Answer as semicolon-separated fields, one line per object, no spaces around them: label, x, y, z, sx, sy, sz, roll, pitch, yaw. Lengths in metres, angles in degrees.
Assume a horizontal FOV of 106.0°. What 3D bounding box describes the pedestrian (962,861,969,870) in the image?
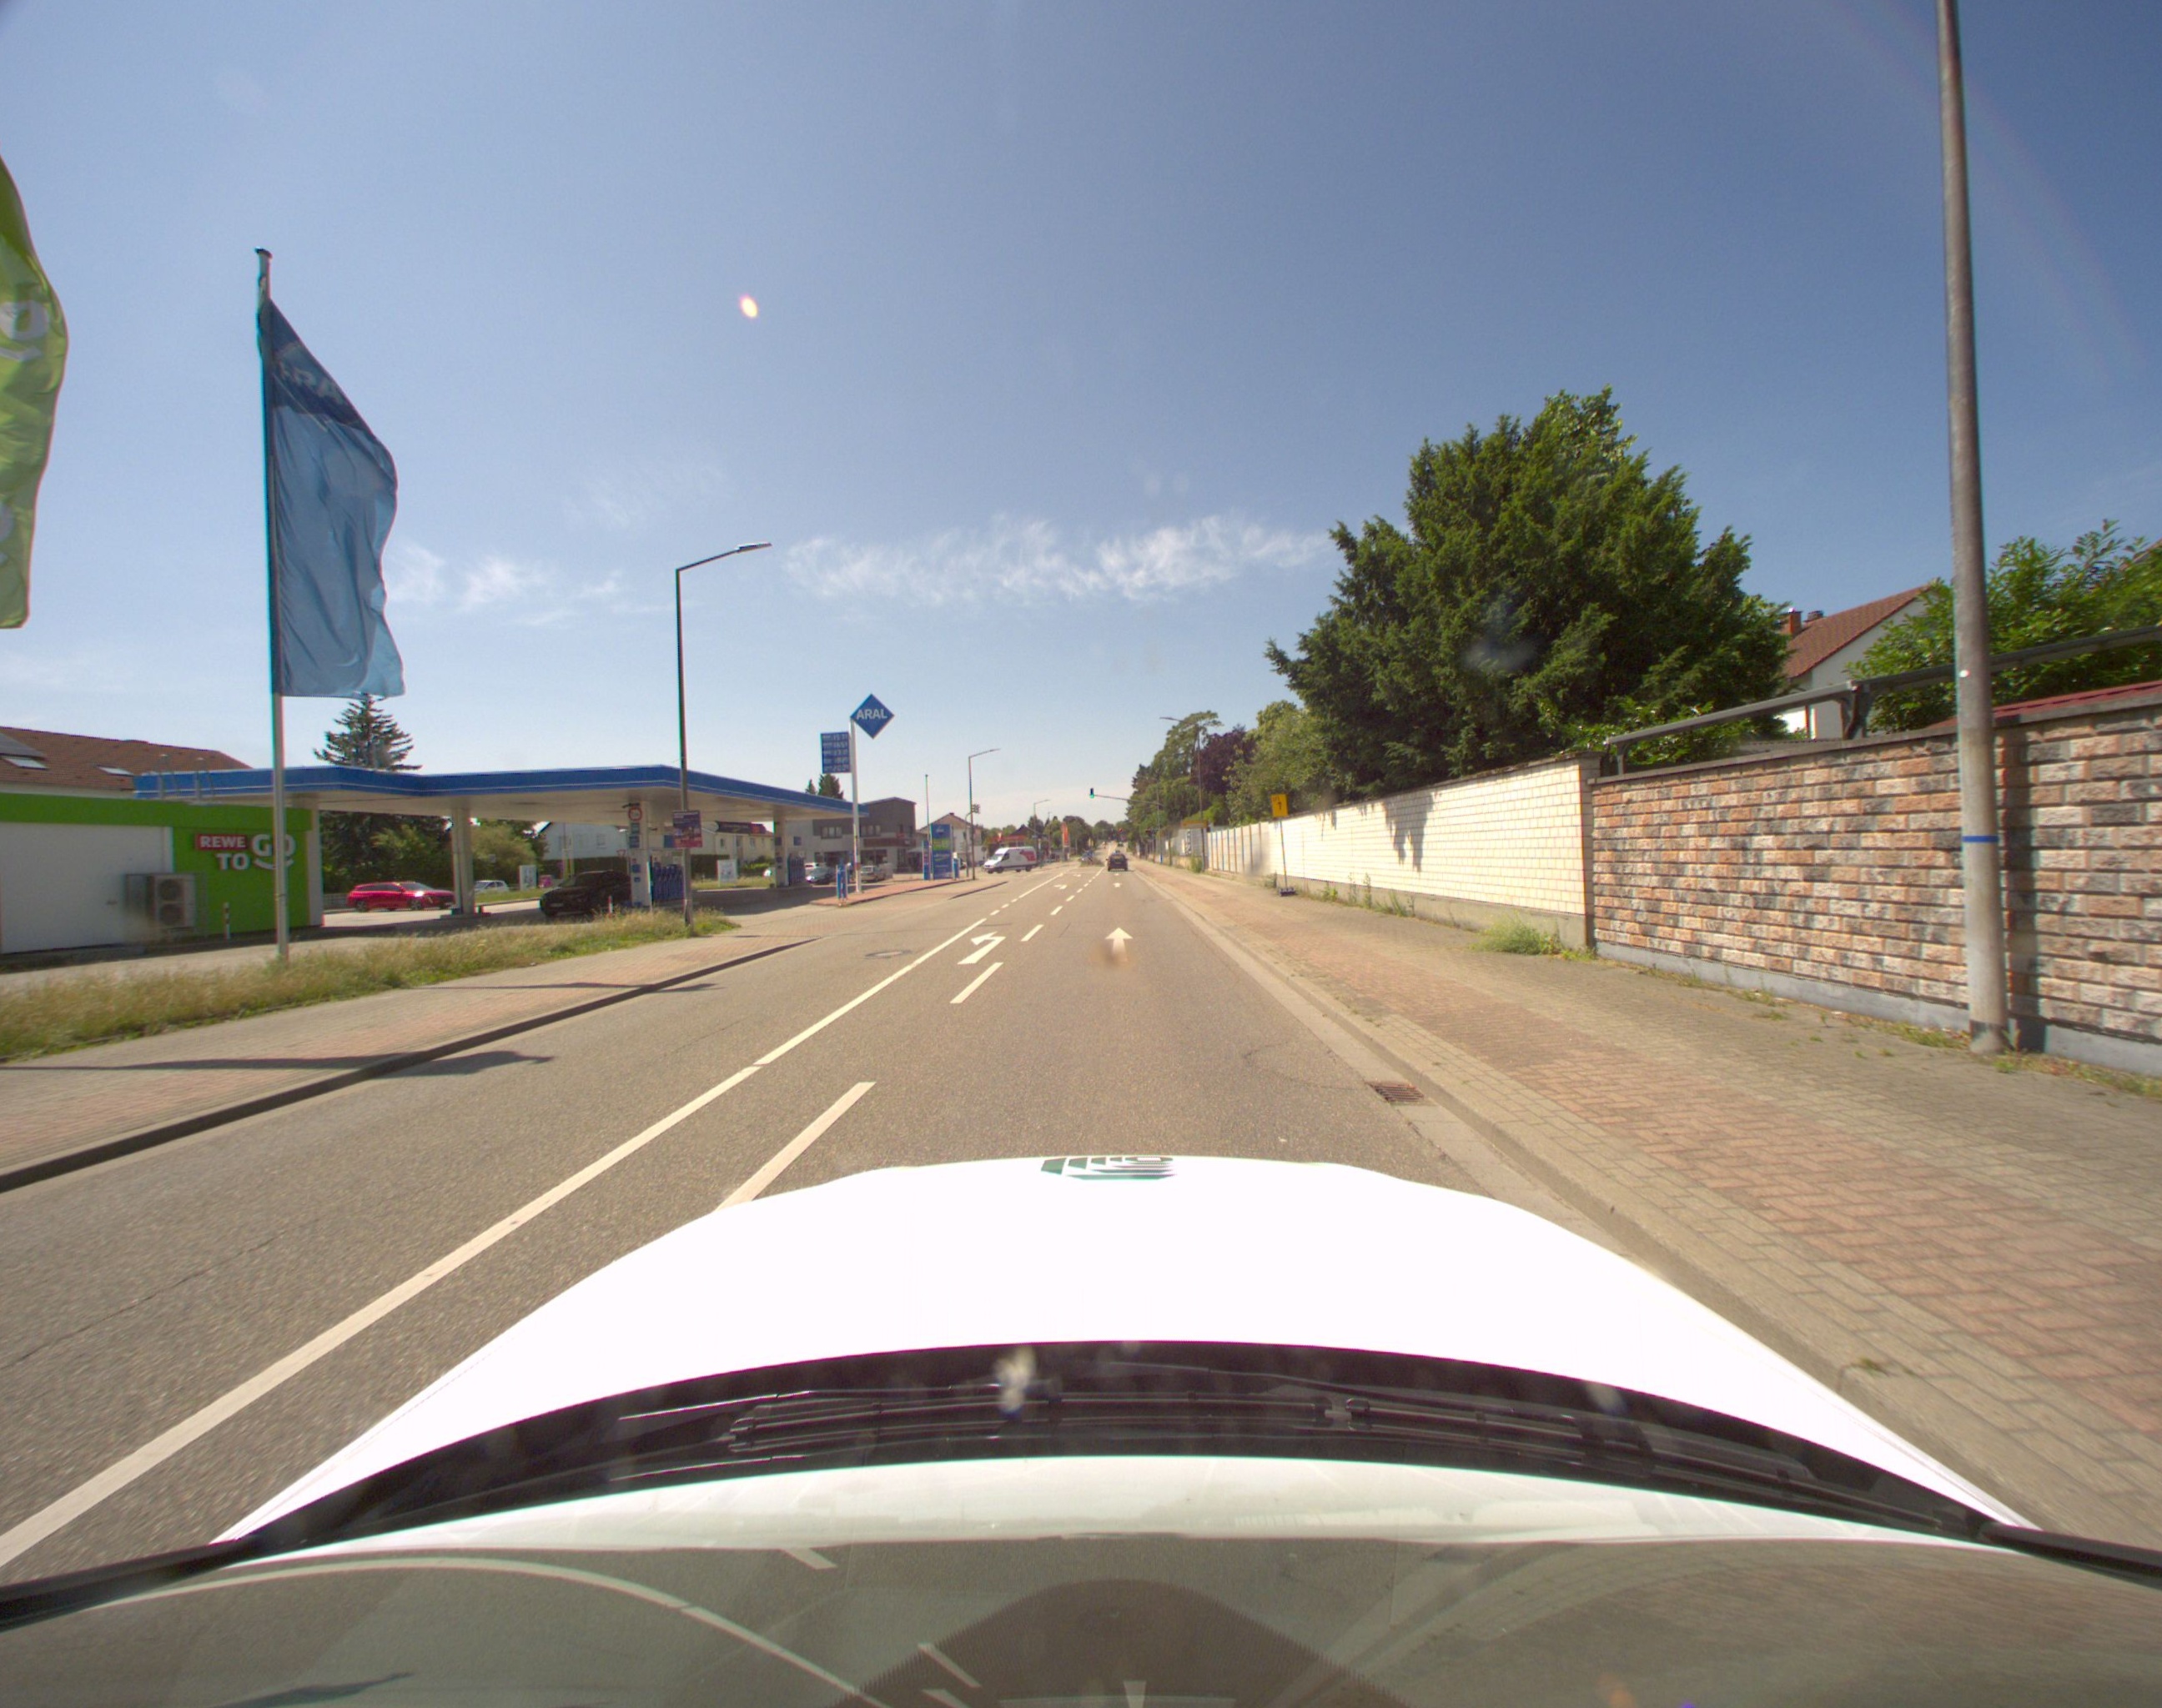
pedestrian;-16.019;1.595;113.203;0.606;1.260;0.760;-3;0;29

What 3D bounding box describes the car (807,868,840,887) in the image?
car;-21.584;1.931;68.342;1.613;1.420;3.709;-4;0;-2

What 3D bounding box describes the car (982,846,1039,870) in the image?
car;-7.309;0.423;84.865;5.981;2.423;1.975;0;-2;-43

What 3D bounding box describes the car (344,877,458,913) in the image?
car;-33.526;1.995;40.244;3.982;1.536;1.672;-2;0;-6

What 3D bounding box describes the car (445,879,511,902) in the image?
car;-45.064;2.716;60.973;1.662;1.480;4.005;-2;0;4

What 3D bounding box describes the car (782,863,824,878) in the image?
car;-30.435;1.810;89.253;3.976;1.508;1.554;-2;0;-2

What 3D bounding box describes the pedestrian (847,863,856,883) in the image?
pedestrian;-19.799;1.655;70.166;0.613;1.691;0.703;-2;0;-24

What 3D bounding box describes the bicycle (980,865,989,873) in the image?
bicycle;-10.715;1.695;90.335;0.610;0.793;2.576;-2;0;2

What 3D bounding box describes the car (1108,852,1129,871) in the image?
car;3.162;0.607;68.497;1.659;1.455;3.474;-2;0;2

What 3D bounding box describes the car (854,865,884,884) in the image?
car;-17.932;1.705;69.017;1.613;1.420;3.709;-4;0;-2

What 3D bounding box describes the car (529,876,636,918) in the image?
car;-19.985;1.682;32.854;1.663;1.381;4.002;-2;0;2

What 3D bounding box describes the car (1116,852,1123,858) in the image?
car;9.514;0.182;200.181;1.659;1.455;3.474;-2;0;2
